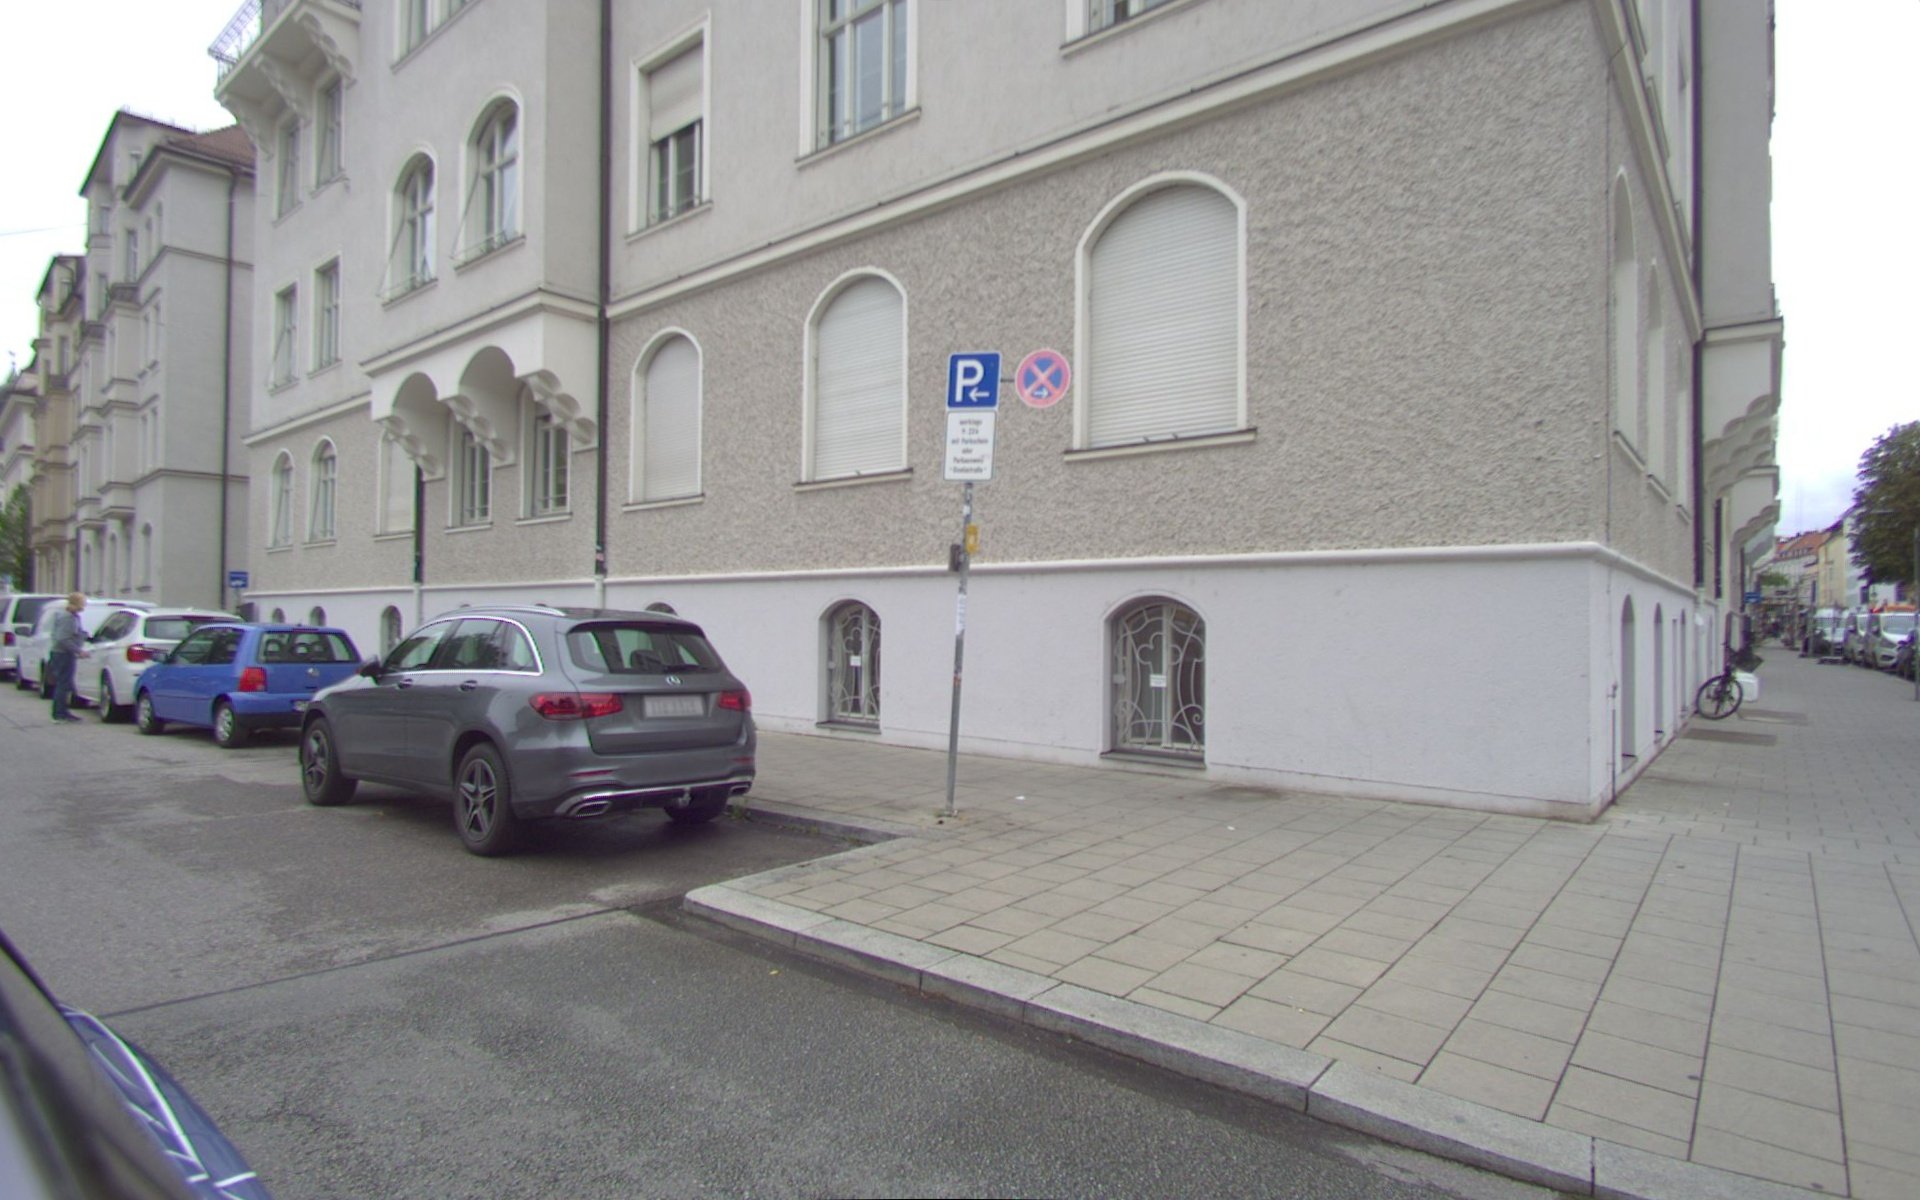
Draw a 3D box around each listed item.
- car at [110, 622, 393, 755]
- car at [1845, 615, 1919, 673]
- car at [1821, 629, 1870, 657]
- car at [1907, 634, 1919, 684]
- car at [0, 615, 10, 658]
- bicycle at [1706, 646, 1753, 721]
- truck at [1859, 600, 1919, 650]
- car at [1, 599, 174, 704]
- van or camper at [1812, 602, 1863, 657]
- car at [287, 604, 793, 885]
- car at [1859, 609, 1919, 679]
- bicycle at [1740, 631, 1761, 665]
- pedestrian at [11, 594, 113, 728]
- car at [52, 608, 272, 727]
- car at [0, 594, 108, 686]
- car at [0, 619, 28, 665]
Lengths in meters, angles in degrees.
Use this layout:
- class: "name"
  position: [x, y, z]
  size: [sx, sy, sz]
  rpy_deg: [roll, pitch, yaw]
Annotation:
- class: "car"
  position: [-9.058, 1.036, 12.884]
  size: [3.652, 1.425, 1.678]
  rpy_deg: [0, -3, 33]
- class: "car"
  position: [34.234, 1.599, 37.267]
  size: [2.121, 2.009, 4.762]
  rpy_deg: [-1, -2, 37]
- class: "car"
  position: [45.295, 2.191, 51.836]
  size: [1.695, 1.356, 3.493]
  rpy_deg: [-1, -2, 39]
- class: "car"
  position: [27.152, 1.617, 27.531]
  size: [1.695, 1.356, 3.494]
  rpy_deg: [-1, -2, 38]
- class: "car"
  position: [-35.512, 1.253, 36.126]
  size: [4.377, 1.475, 1.836]
  rpy_deg: [-1, -3, 41]
- class: "bicycle"
  position: [11.790, 1.245, 15.487]
  size: [0.491, 1.057, 1.806]
  rpy_deg: [-1, -2, 39]
- class: "truck"
  position: [71.914, 1.945, 78.117]
  size: [3.187, 3.651, 8.618]
  rpy_deg: [-1, -2, 38]
- class: "car"
  position: [-17.042, 0.938, 19.675]
  size: [5.033, 1.802, 1.729]
  rpy_deg: [-1, -3, 40]
- class: "van or camper"
  position: [49.227, 1.626, 56.890]
  size: [1.998, 2.935, 6.352]
  rpy_deg: [0, -1, 40]
- class: "car"
  position: [-3.477, 0.886, 7.941]
  size: [4.492, 1.614, 1.729]
  rpy_deg: [-1, -3, 40]
- class: "car"
  position: [30.618, 1.403, 32.429]
  size: [2.120, 2.108, 4.765]
  rpy_deg: [0, -2, 35]
- class: "bicycle"
  position: [25.397, 1.531, 32.510]
  size: [0.491, 1.057, 1.806]
  rpy_deg: [-1, -2, 39]
- class: "pedestrian"
  position: [-12.433, 0.818, 14.019]
  size: [0.876, 1.769, 0.951]
  rpy_deg: [-1, -2, 42]
- class: "car"
  position: [-12.534, 0.969, 15.792]
  size: [4.492, 1.614, 1.729]
  rpy_deg: [-1, -3, 40]
- class: "car"
  position: [-21.709, 0.900, 23.695]
  size: [4.954, 1.953, 1.837]
  rpy_deg: [-1, -3, 40]
- class: "car"
  position: [-31.758, 1.321, 32.736]
  size: [4.377, 1.423, 1.836]
  rpy_deg: [-1, -4, 41]
